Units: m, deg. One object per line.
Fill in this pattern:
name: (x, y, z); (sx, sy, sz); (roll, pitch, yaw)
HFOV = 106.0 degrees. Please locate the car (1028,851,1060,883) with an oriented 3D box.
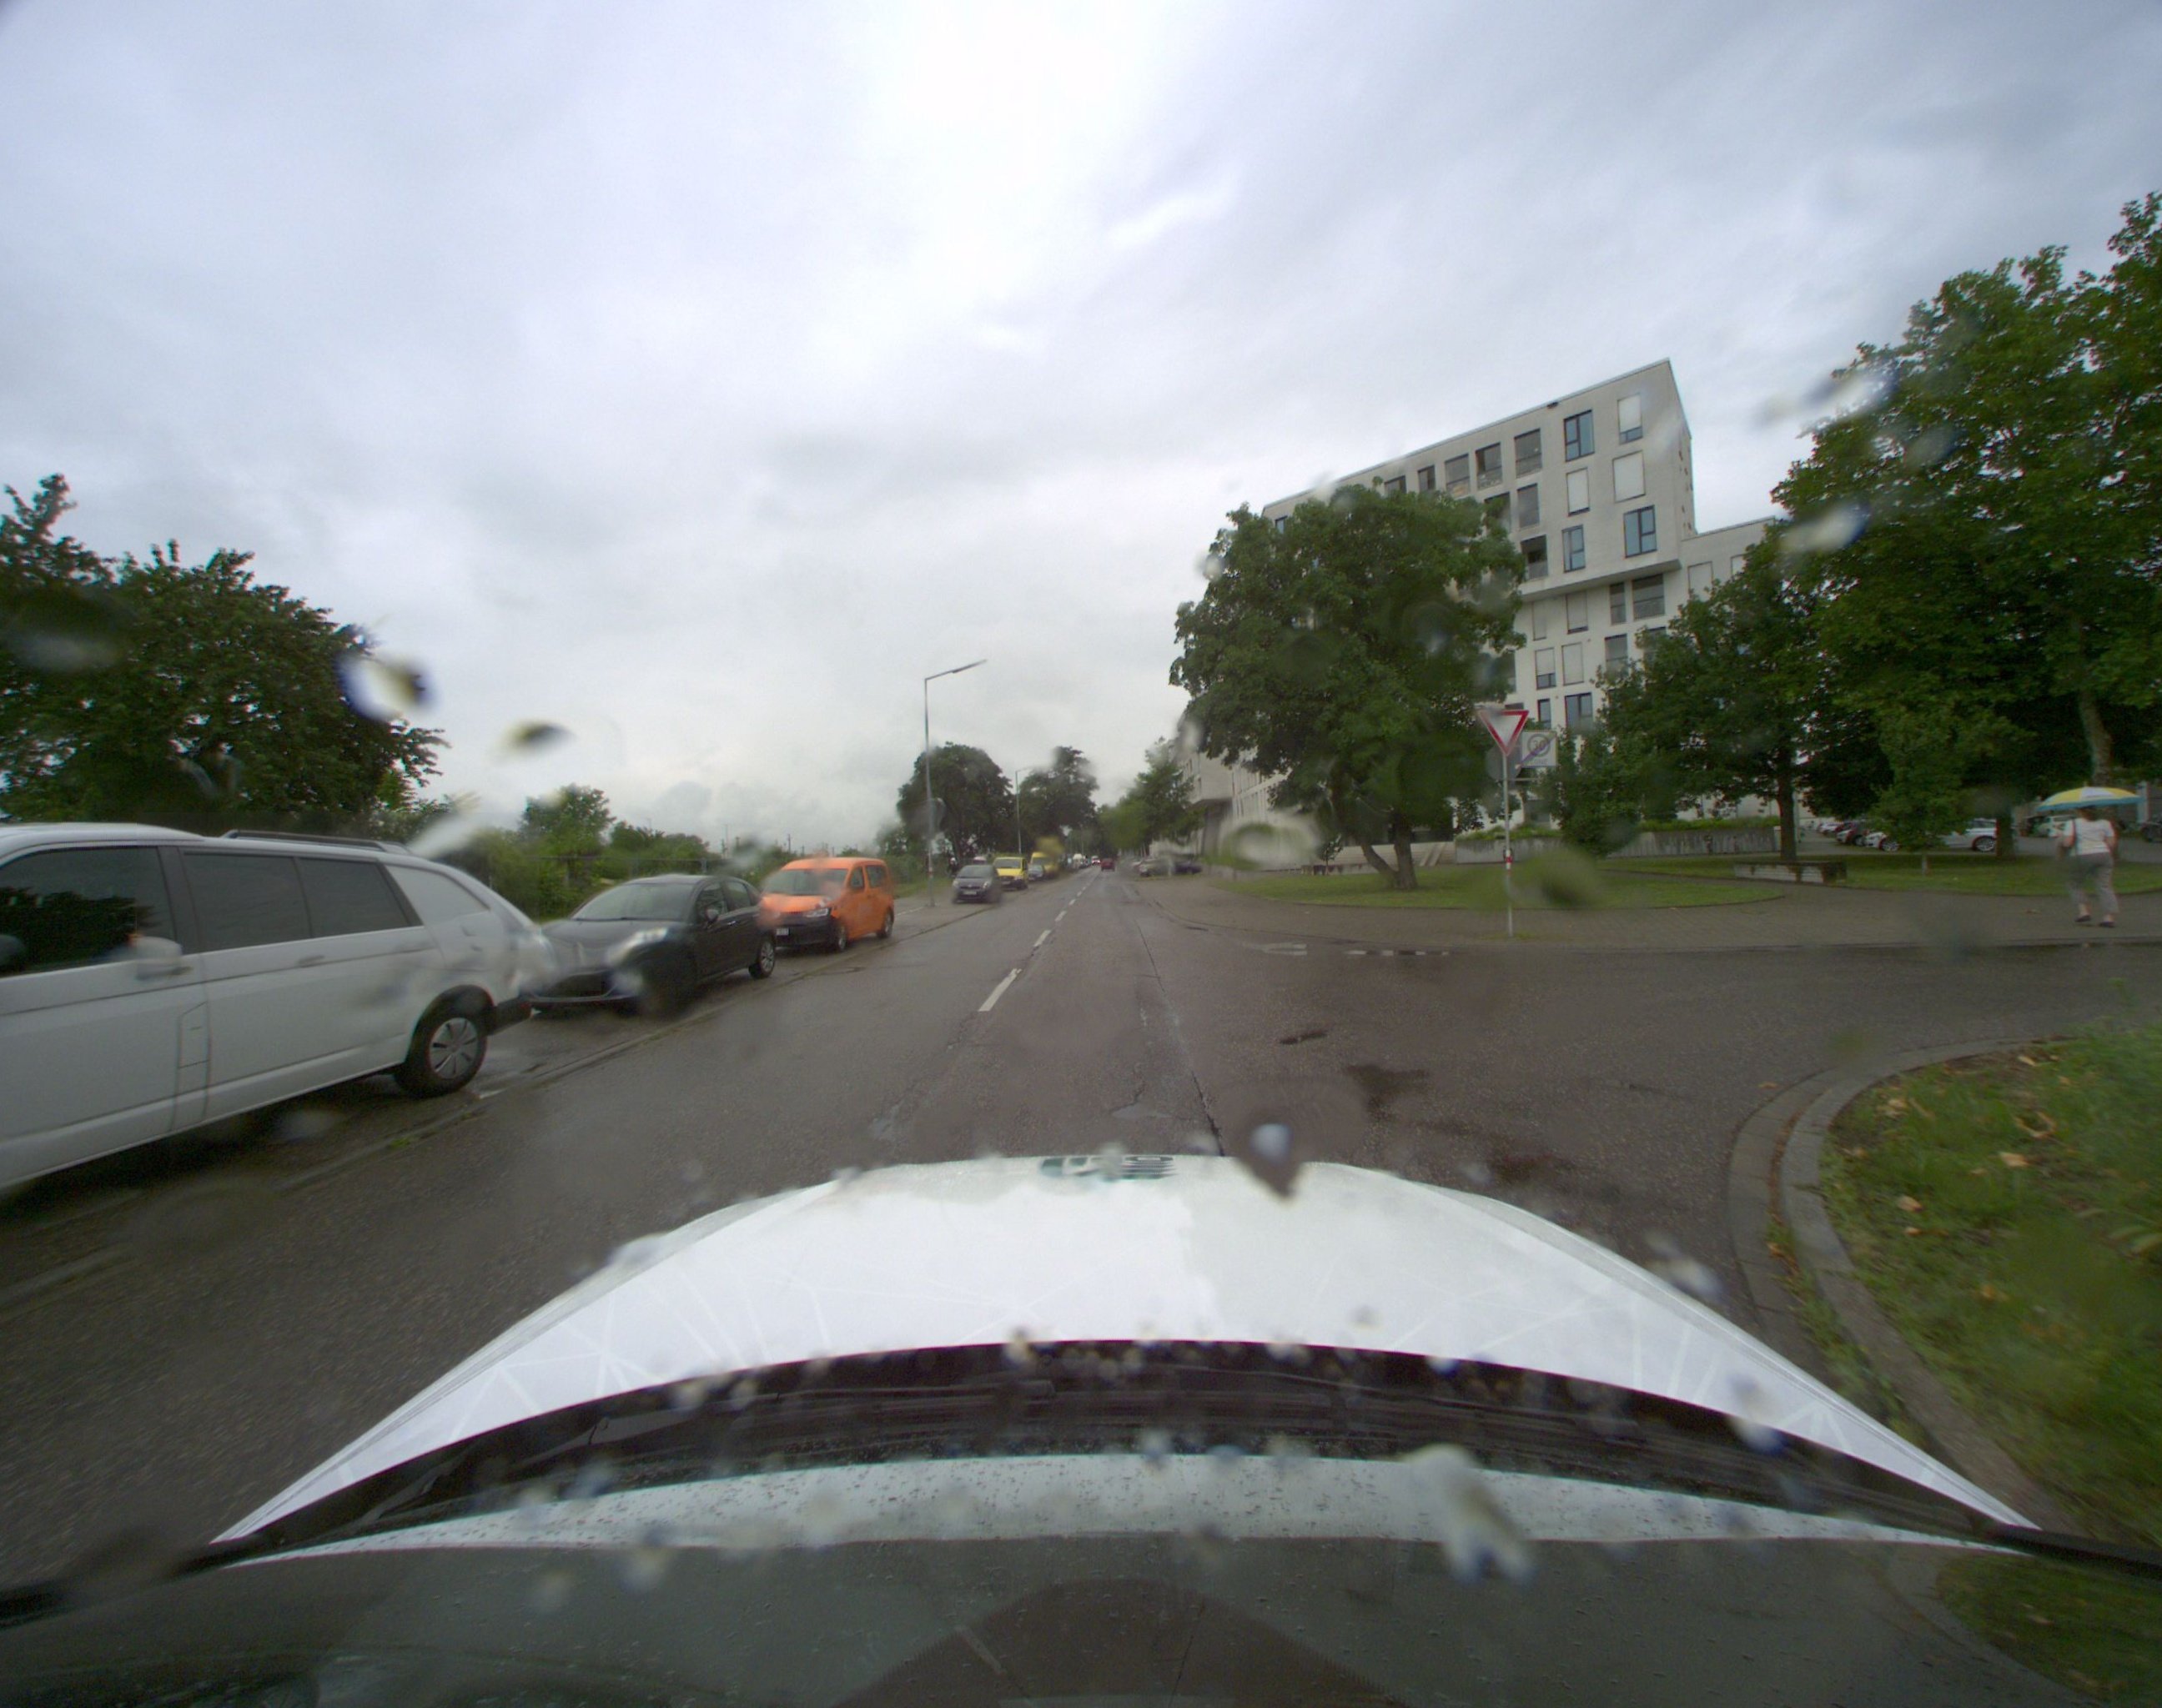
car: (-3.131, 1.093, 70.231); (2.182, 2.694, 6.087); (0, 0, 3)

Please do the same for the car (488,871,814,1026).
car: (-5.369, 1.055, 11.098); (1.677, 1.502, 4.893); (-2, 0, 2)

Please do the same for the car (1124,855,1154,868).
car: (8.180, 1.092, 114.669); (3.973, 1.509, 1.685); (-4, 0, 1)

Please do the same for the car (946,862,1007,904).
car: (-4.209, 1.139, 33.407); (1.797, 1.561, 4.035); (0, 0, 2)

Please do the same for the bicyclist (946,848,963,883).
bicyclist: (-6.823, 0.618, 43.942); (0.695, 1.829, 1.009); (-2, 0, 2)

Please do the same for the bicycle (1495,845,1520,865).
bicycle: (23.467, 0.050, 44.770); (0.716, 1.033, 2.086); (-3, -1, 41)

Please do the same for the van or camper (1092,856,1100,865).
van or camper: (4.421, 1.855, 234.548); (1.985, 2.497, 7.182); (-3, -1, 3)

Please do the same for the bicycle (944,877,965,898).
bicycle: (-6.790, 1.779, 43.853); (0.713, 1.042, 2.146); (-2, 0, 2)

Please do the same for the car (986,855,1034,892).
car: (-3.934, 1.059, 46.174); (2.009, 1.956, 6.067); (-1, -1, 2)

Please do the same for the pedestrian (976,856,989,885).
pedestrian: (-7.115, 1.187, 58.797); (0.739, 2.014, 0.981); (-2, -1, 2)

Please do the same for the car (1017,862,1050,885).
car: (-3.335, 1.398, 58.463); (1.986, 1.594, 5.018); (0, -1, 1)

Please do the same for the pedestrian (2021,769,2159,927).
pedestrian: (13.464, -0.079, 10.891); (0.961, 2.013, 0.623); (-3, 0, 2)

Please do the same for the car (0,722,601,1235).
car: (-5.660, 0.579, 4.989); (1.935, 2.236, 5.559); (-2, 0, 2)

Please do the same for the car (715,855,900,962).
car: (-5.229, 0.959, 16.282); (1.931, 1.767, 4.335); (-2, 0, 4)

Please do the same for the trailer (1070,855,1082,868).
trailer: (-0.894, 1.404, 144.805); (2.052, 2.218, 5.794); (-1, 0, 0)

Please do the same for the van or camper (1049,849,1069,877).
van or camper: (-2.530, 1.042, 94.656); (2.087, 3.094, 6.424); (0, -1, 1)

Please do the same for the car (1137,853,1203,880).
car: (6.497, 0.918, 59.747); (4.555, 1.497, 1.825); (-5, -1, 0)

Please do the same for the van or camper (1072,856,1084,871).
van or camper: (-0.483, 1.763, 157.452); (1.986, 2.762, 7.902); (-1, -1, 2)

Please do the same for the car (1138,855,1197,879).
car: (6.886, 1.021, 65.319); (4.471, 1.481, 1.692); (-5, -1, 1)

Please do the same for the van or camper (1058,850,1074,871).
van or camper: (-2.000, 0.899, 110.910); (2.087, 2.716, 7.573); (0, -1, 0)

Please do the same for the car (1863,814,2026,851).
car: (37.516, -0.907, 35.585); (4.775, 1.507, 1.635); (-1, 1, 42)

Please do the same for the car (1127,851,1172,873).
car: (7.358, 0.867, 88.271); (4.527, 1.685, 1.885); (-7, -1, -1)

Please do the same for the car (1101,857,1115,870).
car: (3.685, 1.301, 110.940); (1.749, 1.706, 4.002); (-2, -1, 2)
